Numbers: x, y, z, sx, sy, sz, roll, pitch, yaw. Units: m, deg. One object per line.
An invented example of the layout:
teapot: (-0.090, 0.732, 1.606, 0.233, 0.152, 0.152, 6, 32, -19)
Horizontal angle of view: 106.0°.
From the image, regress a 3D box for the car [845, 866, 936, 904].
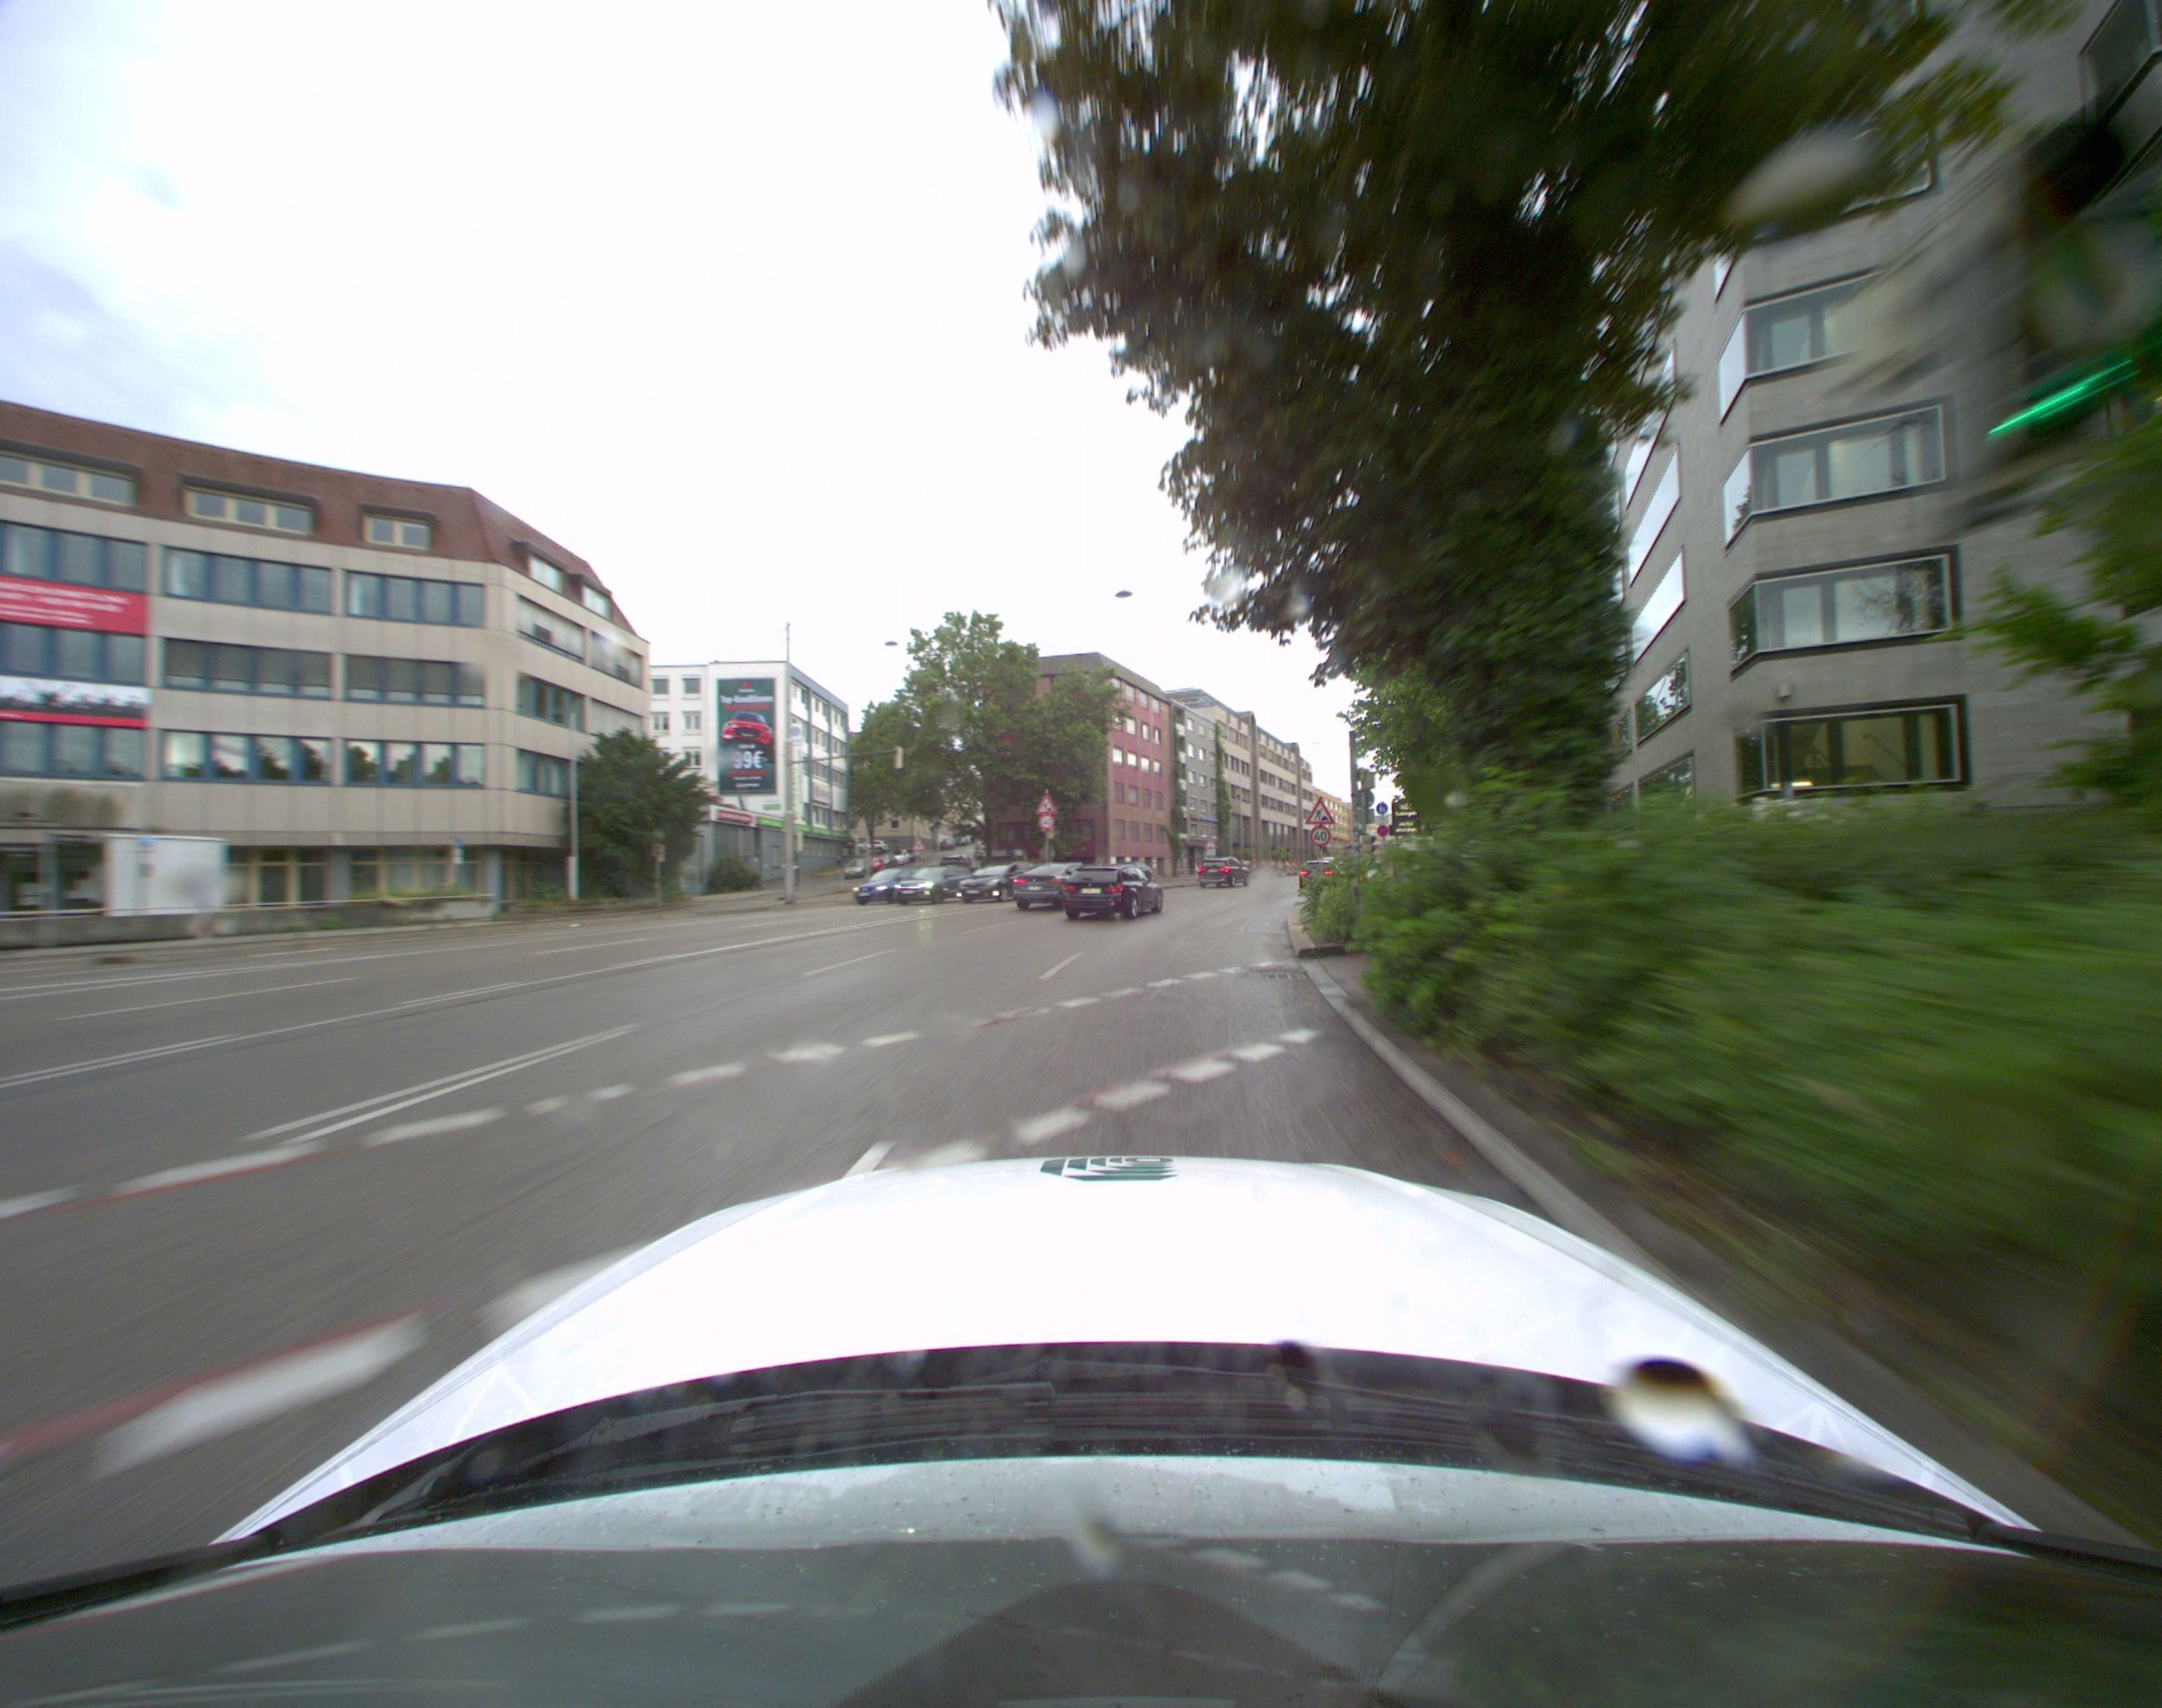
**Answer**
car: (-8.291, 1.317, 35.748, 1.746, 1.512, 4.143, -3, -2, 23)

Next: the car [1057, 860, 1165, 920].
car: (0.947, 0.896, 22.170, 1.777, 1.426, 4.634, 0, 0, 17)

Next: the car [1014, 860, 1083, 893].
car: (-1.700, 1.198, 44.398, 1.750, 1.682, 4.617, -3, -2, 25)

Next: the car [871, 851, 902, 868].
car: (-19.271, 0.524, 80.721, 1.825, 1.430, 4.074, -2, 3, 2)

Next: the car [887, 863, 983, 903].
car: (-5.880, 1.144, 33.360, 1.801, 1.512, 4.255, -3, -2, 23)

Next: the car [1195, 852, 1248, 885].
car: (7.795, 0.805, 45.018, 1.883, 1.693, 4.022, -3, -2, 24)

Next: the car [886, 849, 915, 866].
car: (-18.938, 0.318, 85.656, 1.824, 1.430, 4.077, -2, 3, 5)

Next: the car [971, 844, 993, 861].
car: (-11.231, -0.189, 92.820, 1.924, 1.674, 4.001, -2, 2, 0)

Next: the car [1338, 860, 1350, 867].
car: (64.596, 2.297, 200.068, 1.975, 1.620, 4.343, -3, -2, 26)

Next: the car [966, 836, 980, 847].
car: (-19.299, -2.247, 145.826, 1.988, 1.842, 3.998, -2, 2, -2)

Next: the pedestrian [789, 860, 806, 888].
pedestrian: (-21.400, 1.521, 61.510, 0.836, 2.014, 0.981, -2, -2, 0)

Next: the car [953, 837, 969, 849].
car: (-19.146, -1.782, 129.626, 1.988, 1.842, 3.998, -2, 2, -2)

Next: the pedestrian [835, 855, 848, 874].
pedestrian: (-21.830, 0.944, 74.149, 0.836, 1.718, 0.981, -2, -2, 0)

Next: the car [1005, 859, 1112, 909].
car: (-0.611, 0.926, 26.052, 1.775, 1.427, 4.407, -3, -2, 21)

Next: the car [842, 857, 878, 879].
car: (-19.085, 1.179, 70.411, 1.826, 1.463, 4.178, -2, 3, 1)

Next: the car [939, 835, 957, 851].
car: (-18.927, -1.567, 115.836, 1.988, 2.014, 3.997, -2, -2, -2)

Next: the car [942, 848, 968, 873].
car: (-10.693, 0.513, 69.399, 1.928, 1.867, 3.994, 0, 4, -6)

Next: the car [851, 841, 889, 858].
car: (-27.093, -0.593, 104.675, 4.409, 2.006, 1.996, -2, -2, -5)

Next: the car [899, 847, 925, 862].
car: (-18.718, 0.051, 90.319, 1.825, 1.430, 4.074, -2, 3, 3)

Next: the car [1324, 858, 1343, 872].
car: (38.186, 1.684, 123.105, 1.975, 1.990, 5.319, -3, -2, 25)

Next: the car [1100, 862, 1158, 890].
car: (2.741, 1.207, 45.423, 1.750, 1.417, 4.106, -3, -2, 25)

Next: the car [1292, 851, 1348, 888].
car: (12.157, 0.773, 41.266, 1.882, 1.693, 4.024, -3, -2, 28)

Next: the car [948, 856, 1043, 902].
car: (-3.337, 0.969, 32.669, 1.838, 1.622, 4.615, -4, -2, 20)

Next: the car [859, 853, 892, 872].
car: (-19.164, 0.817, 76.236, 1.825, 1.430, 4.074, -2, 3, 2)

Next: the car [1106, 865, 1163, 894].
car: (3.565, 1.664, 53.394, 1.975, 1.677, 4.965, -3, -2, 25)

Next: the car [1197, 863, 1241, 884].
car: (10.530, 1.449, 61.991, 1.975, 1.438, 4.965, -3, -2, 25)

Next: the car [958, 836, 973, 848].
car: (-19.240, -2.004, 135.961, 1.988, 1.842, 3.998, -2, 2, -2)
